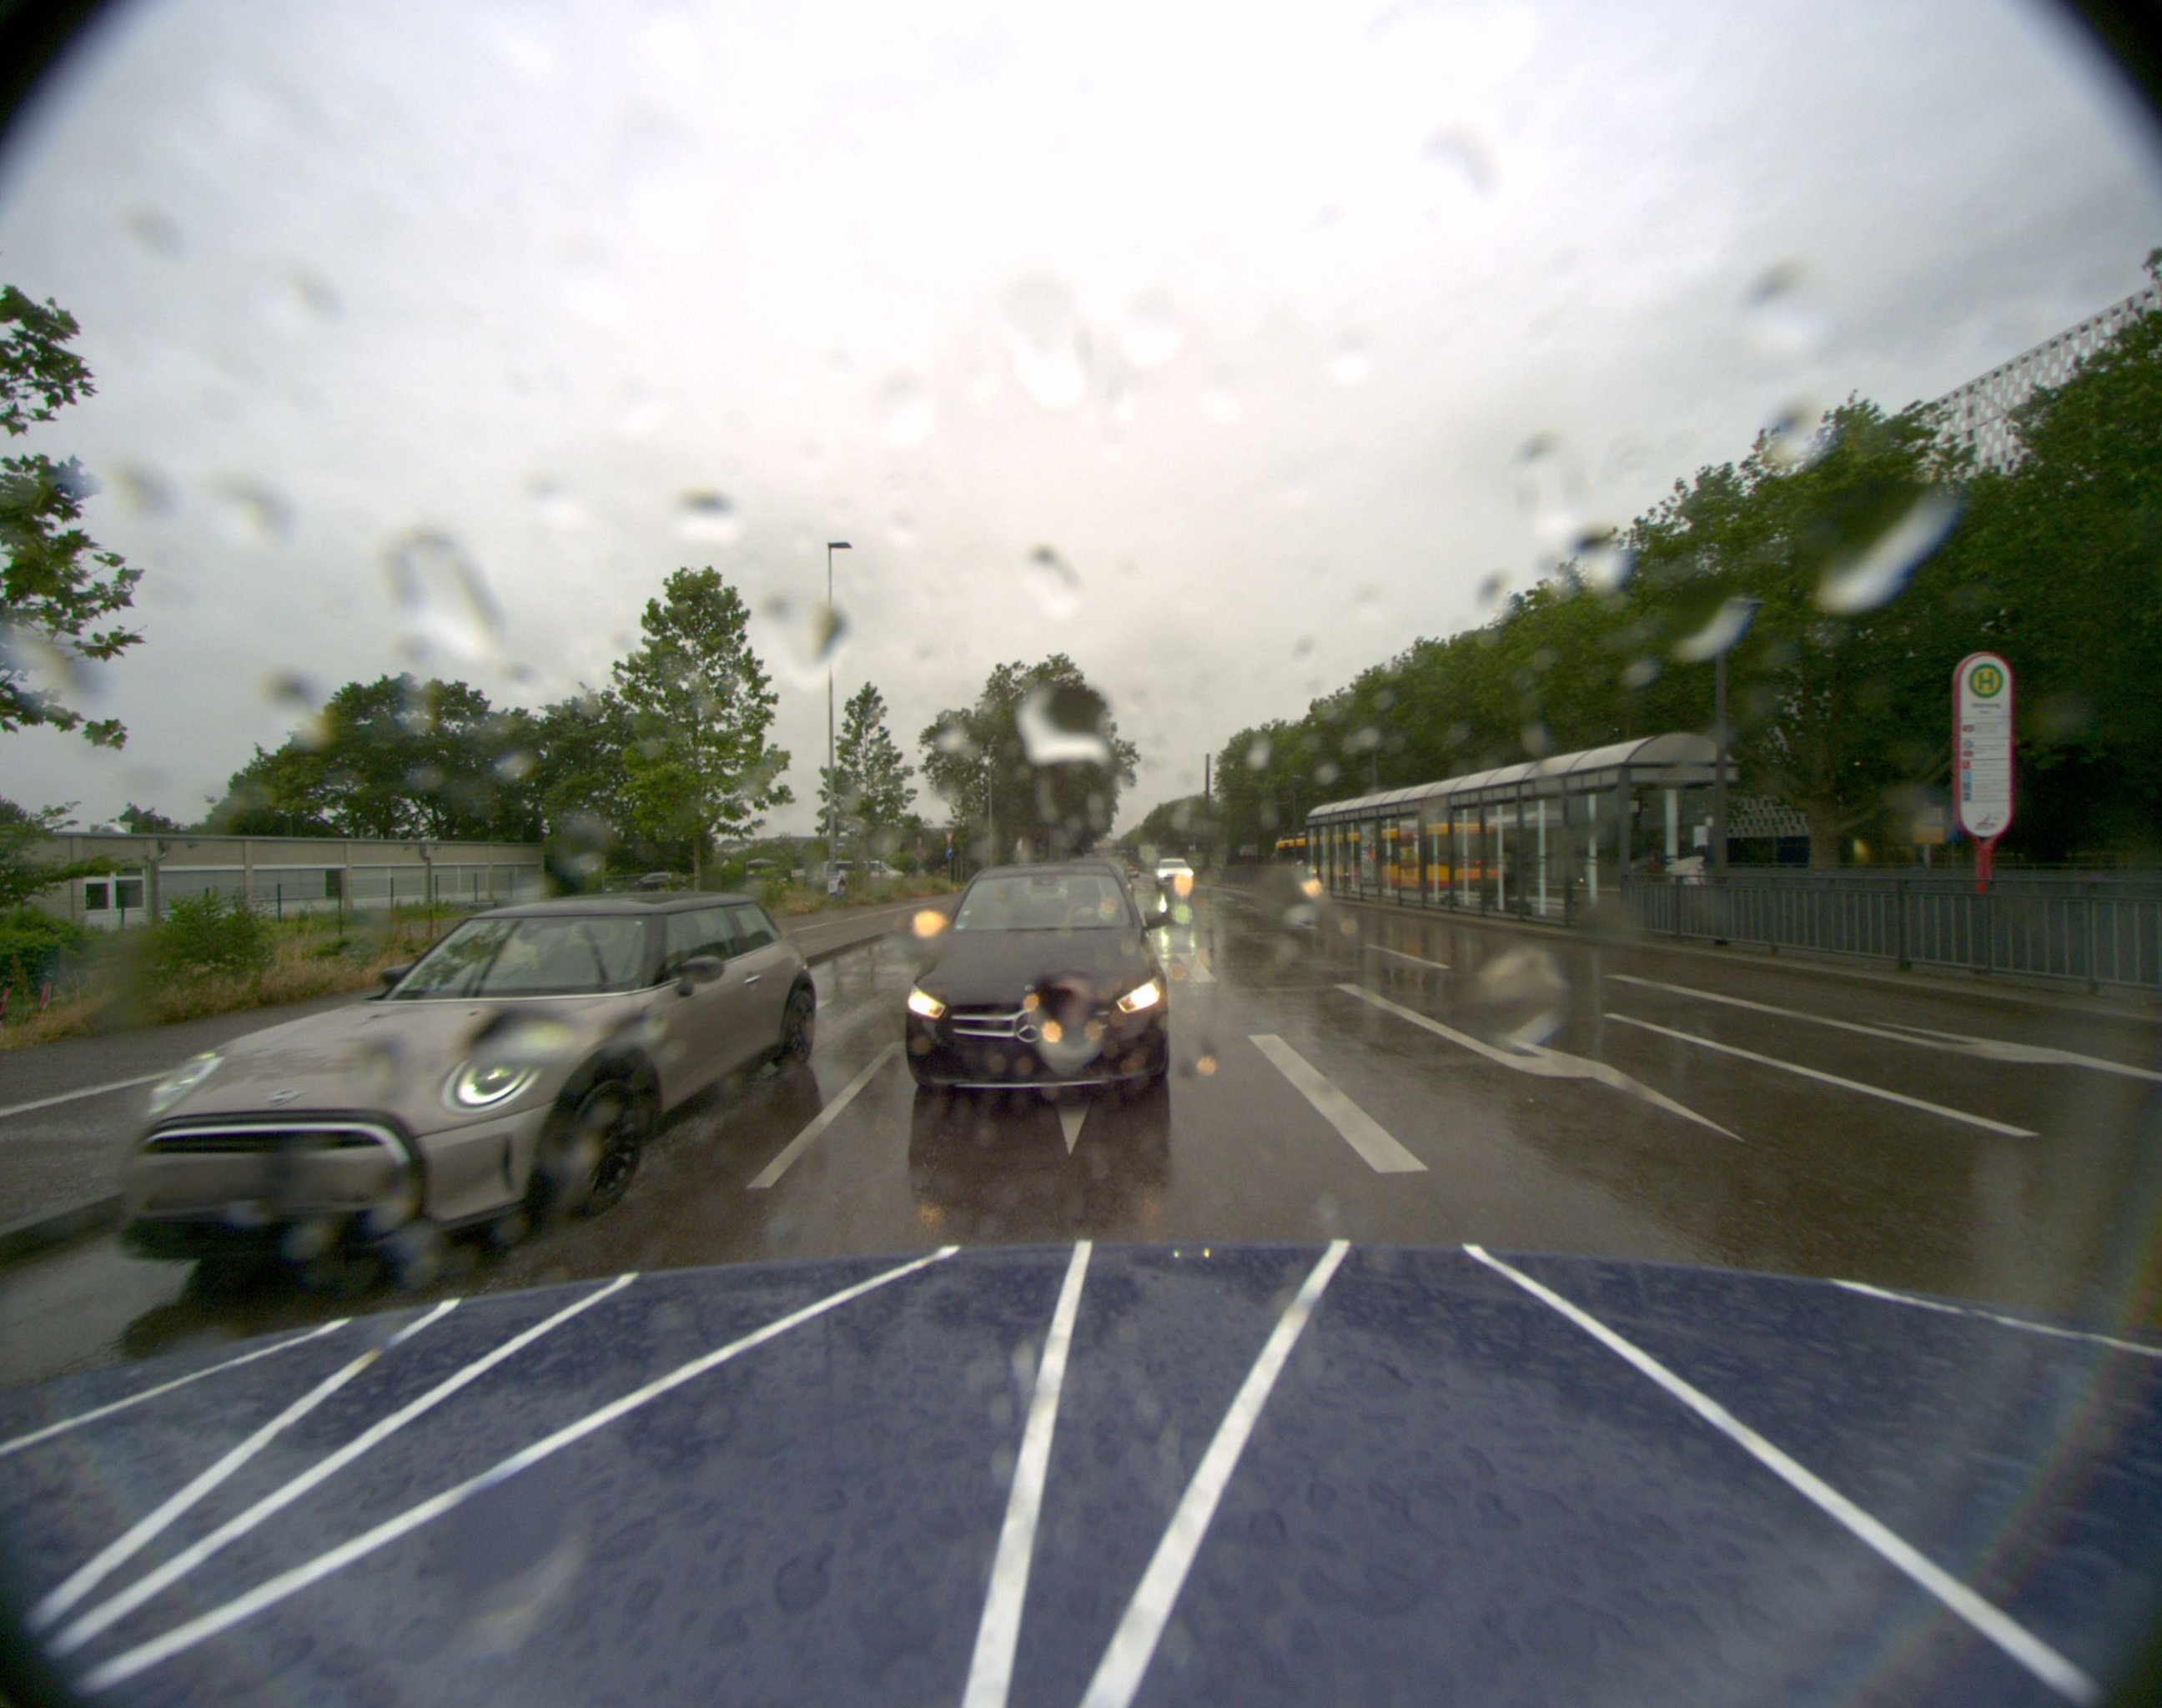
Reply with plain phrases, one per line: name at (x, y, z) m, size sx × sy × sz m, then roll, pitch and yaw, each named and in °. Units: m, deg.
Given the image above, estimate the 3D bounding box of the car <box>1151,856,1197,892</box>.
car at (5.076, 1.066, 41.969) m, size 1.935 × 1.765 × 4.663 m, roll -3°, pitch 0°, yaw 1°

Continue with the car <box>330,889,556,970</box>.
car at (-12.029, 1.409, 14.426) m, size 3.243 × 1.281 × 1.345 m, roll -3°, pitch 1°, yaw 6°

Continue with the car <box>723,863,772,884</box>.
car at (-28.368, 1.673, 64.638) m, size 3.552 × 1.574 × 1.345 m, roll -3°, pitch 1°, yaw 6°

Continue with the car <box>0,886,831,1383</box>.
car at (-3.033, 1.048, 4.543) m, size 1.707 × 1.499 × 3.879 m, roll -2°, pitch 0°, yaw 1°

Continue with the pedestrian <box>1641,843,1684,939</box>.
pedestrian at (9.170, 0.575, 11.990) m, size 0.321 × 1.485 × 0.415 m, roll -3°, pitch 1°, yaw 6°

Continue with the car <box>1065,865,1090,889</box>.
car at (-0.213, 1.548, 51.839) m, size 1.557 × 1.500 × 3.618 m, roll -2°, pitch 0°, yaw 2°

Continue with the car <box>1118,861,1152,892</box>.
car at (2.989, 1.236, 42.755) m, size 1.557 × 1.541 × 3.717 m, roll -3°, pitch 0°, yaw 0°

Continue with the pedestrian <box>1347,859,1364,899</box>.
pedestrian at (8.694, 0.786, 24.064) m, size 0.458 × 1.229 × 0.467 m, roll -2°, pitch 2°, yaw 15°

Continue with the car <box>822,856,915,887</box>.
car at (-13.303, 1.075, 47.781) m, size 5.174 × 1.715 × 2.006 m, roll -3°, pitch 1°, yaw -1°

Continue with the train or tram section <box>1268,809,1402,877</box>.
train or tram section at (16.549, -0.687, 51.553) m, size 3.751 × 3.777 × 15.570 m, roll -3°, pitch 0°, yaw 0°

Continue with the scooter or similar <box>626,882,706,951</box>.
scooter or similar at (-8.191, 1.190, 15.086) m, size 0.367 × 1.192 × 1.913 m, roll -2°, pitch 0°, yaw 4°

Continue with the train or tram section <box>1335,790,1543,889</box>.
train or tram section at (16.614, -0.624, 37.131) m, size 3.751 × 3.817 × 13.253 m, roll -3°, pitch 0°, yaw 0°

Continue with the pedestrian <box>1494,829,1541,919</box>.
pedestrian at (9.309, 0.417, 16.220) m, size 0.655 × 1.860 × 0.773 m, roll -2°, pitch 1°, yaw 17°

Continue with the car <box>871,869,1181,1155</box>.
car at (-0.285, 0.967, 6.522) m, size 1.758 × 1.572 × 4.169 m, roll -2°, pitch -1°, yaw 1°

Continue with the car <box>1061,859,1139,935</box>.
car at (0.472, 0.953, 18.577) m, size 1.689 × 1.611 × 4.000 m, roll -1°, pitch 0°, yaw 2°
